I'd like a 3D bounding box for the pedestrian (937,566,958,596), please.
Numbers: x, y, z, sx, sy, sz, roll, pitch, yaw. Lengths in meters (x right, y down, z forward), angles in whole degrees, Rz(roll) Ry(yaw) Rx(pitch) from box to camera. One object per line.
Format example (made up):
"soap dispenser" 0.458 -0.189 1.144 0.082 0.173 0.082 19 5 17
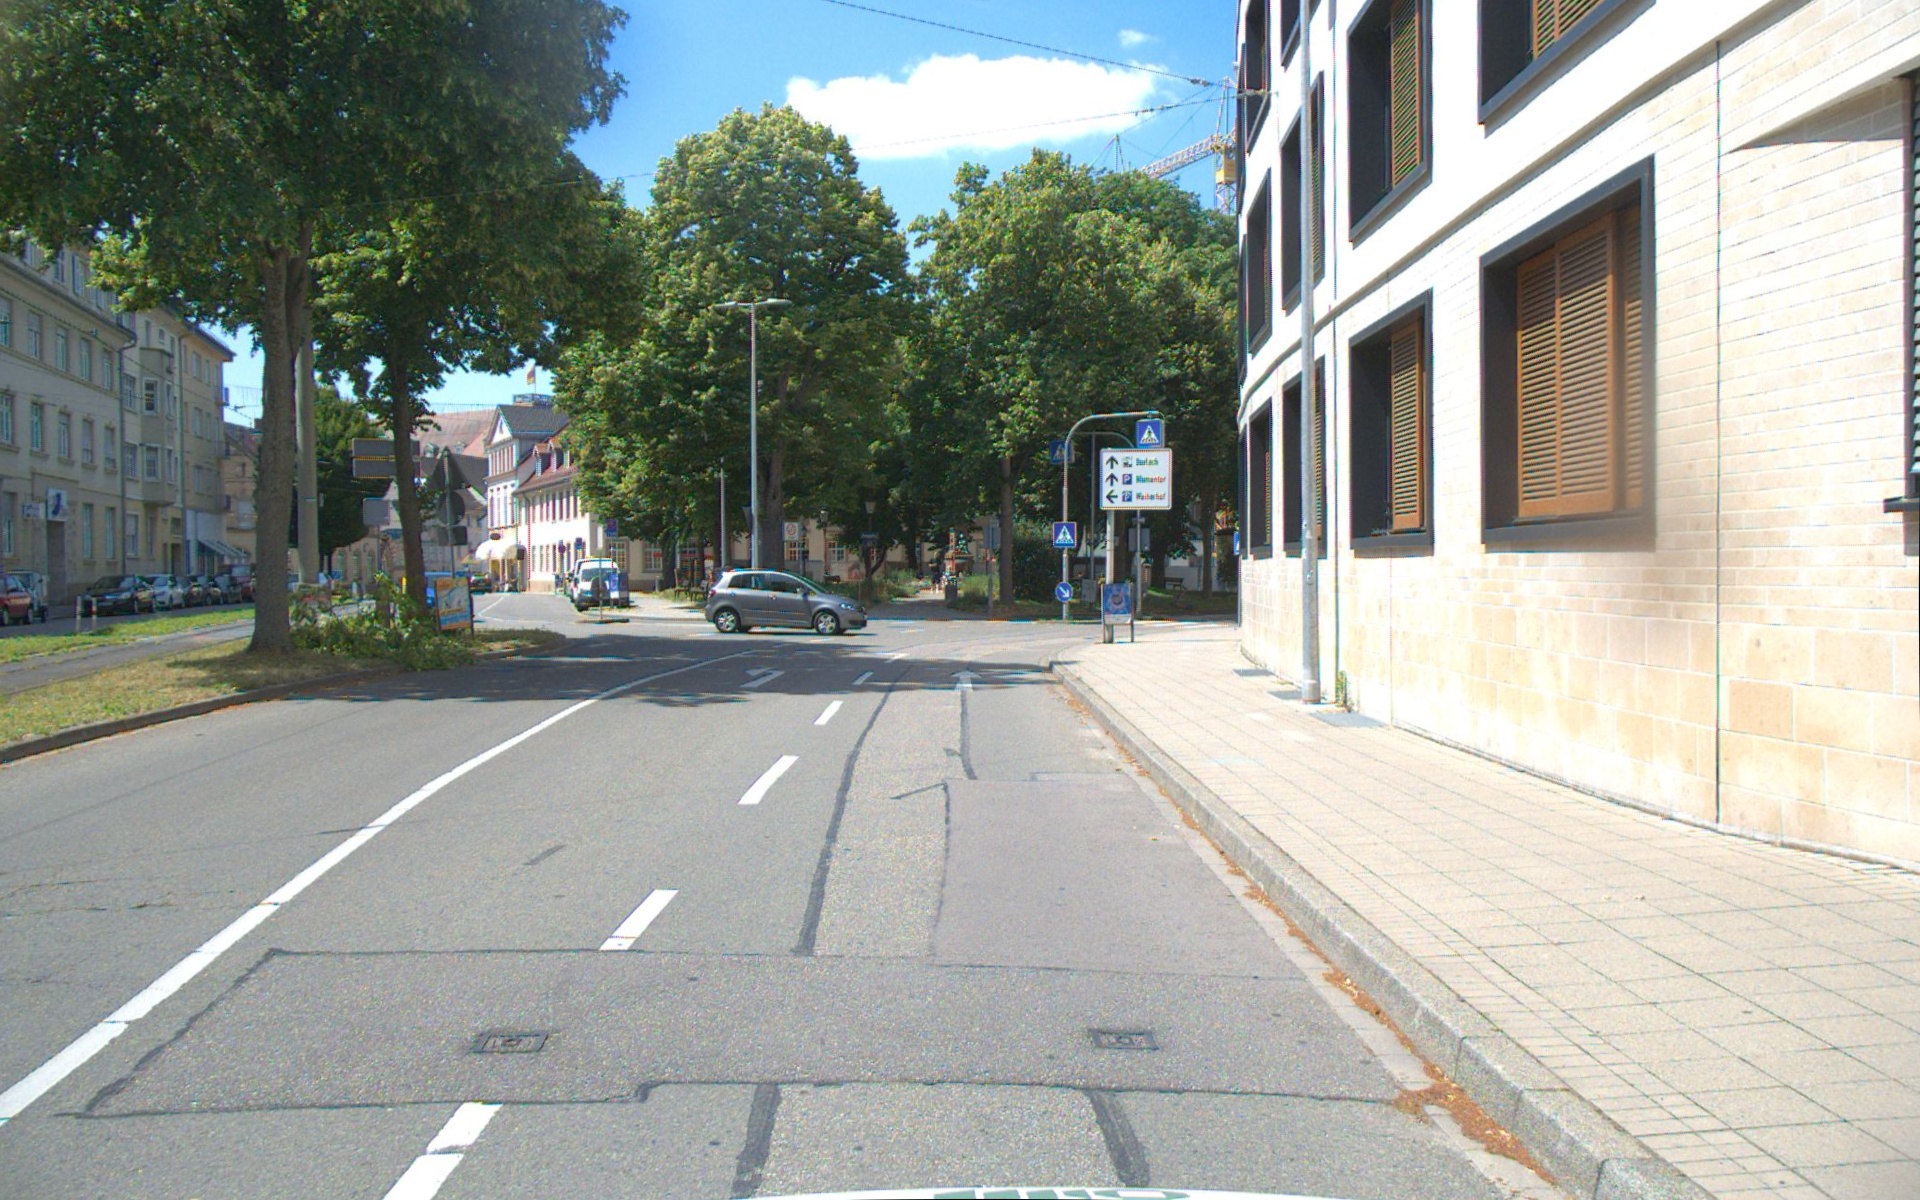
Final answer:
"pedestrian" -0.544 -0.859 73.470 0.887 1.273 1.148 0 2 1

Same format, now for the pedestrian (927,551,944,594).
"pedestrian" -1.112 -1.238 74.202 0.732 1.944 0.684 0 2 1

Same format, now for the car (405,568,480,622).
"car" -15.555 -0.192 49.615 1.785 1.518 3.973 0 2 -23

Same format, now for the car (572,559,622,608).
"car" -15.567 -0.743 70.875 2.014 2.037 5.232 0 1 -13

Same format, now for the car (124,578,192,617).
"car" -32.029 -0.125 66.145 1.658 1.414 3.843 -2 2 -14

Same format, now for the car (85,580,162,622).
"car" -30.690 0.026 60.757 1.658 1.383 3.843 -2 2 -14

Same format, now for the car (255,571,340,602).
"car" -36.221 -0.764 90.517 4.139 1.531 1.993 -3 2 -19

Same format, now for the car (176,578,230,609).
"car" -34.423 -0.312 75.253 1.575 1.300 3.573 -2 2 -14

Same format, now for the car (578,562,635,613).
"car" -13.488 -0.513 62.932 1.960 1.858 4.405 0 1 -15

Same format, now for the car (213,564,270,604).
"car" -36.628 -0.853 84.428 1.822 1.944 4.753 -2 2 -14

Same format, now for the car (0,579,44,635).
"car" -26.991 0.187 46.197 1.545 1.476 3.612 -2 2 -14

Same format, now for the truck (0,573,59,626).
"truck" -28.295 -0.035 50.133 1.107 1.520 2.584 -2 2 -15

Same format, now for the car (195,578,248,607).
"car" -35.479 -0.382 79.543 1.614 1.300 4.248 -2 2 -14

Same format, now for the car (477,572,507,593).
"car" -35.355 -1.340 124.951 1.834 1.512 3.976 0 1 -21

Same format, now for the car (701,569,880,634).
"car" -4.260 0.017 41.937 4.139 1.560 1.911 1 1 9
